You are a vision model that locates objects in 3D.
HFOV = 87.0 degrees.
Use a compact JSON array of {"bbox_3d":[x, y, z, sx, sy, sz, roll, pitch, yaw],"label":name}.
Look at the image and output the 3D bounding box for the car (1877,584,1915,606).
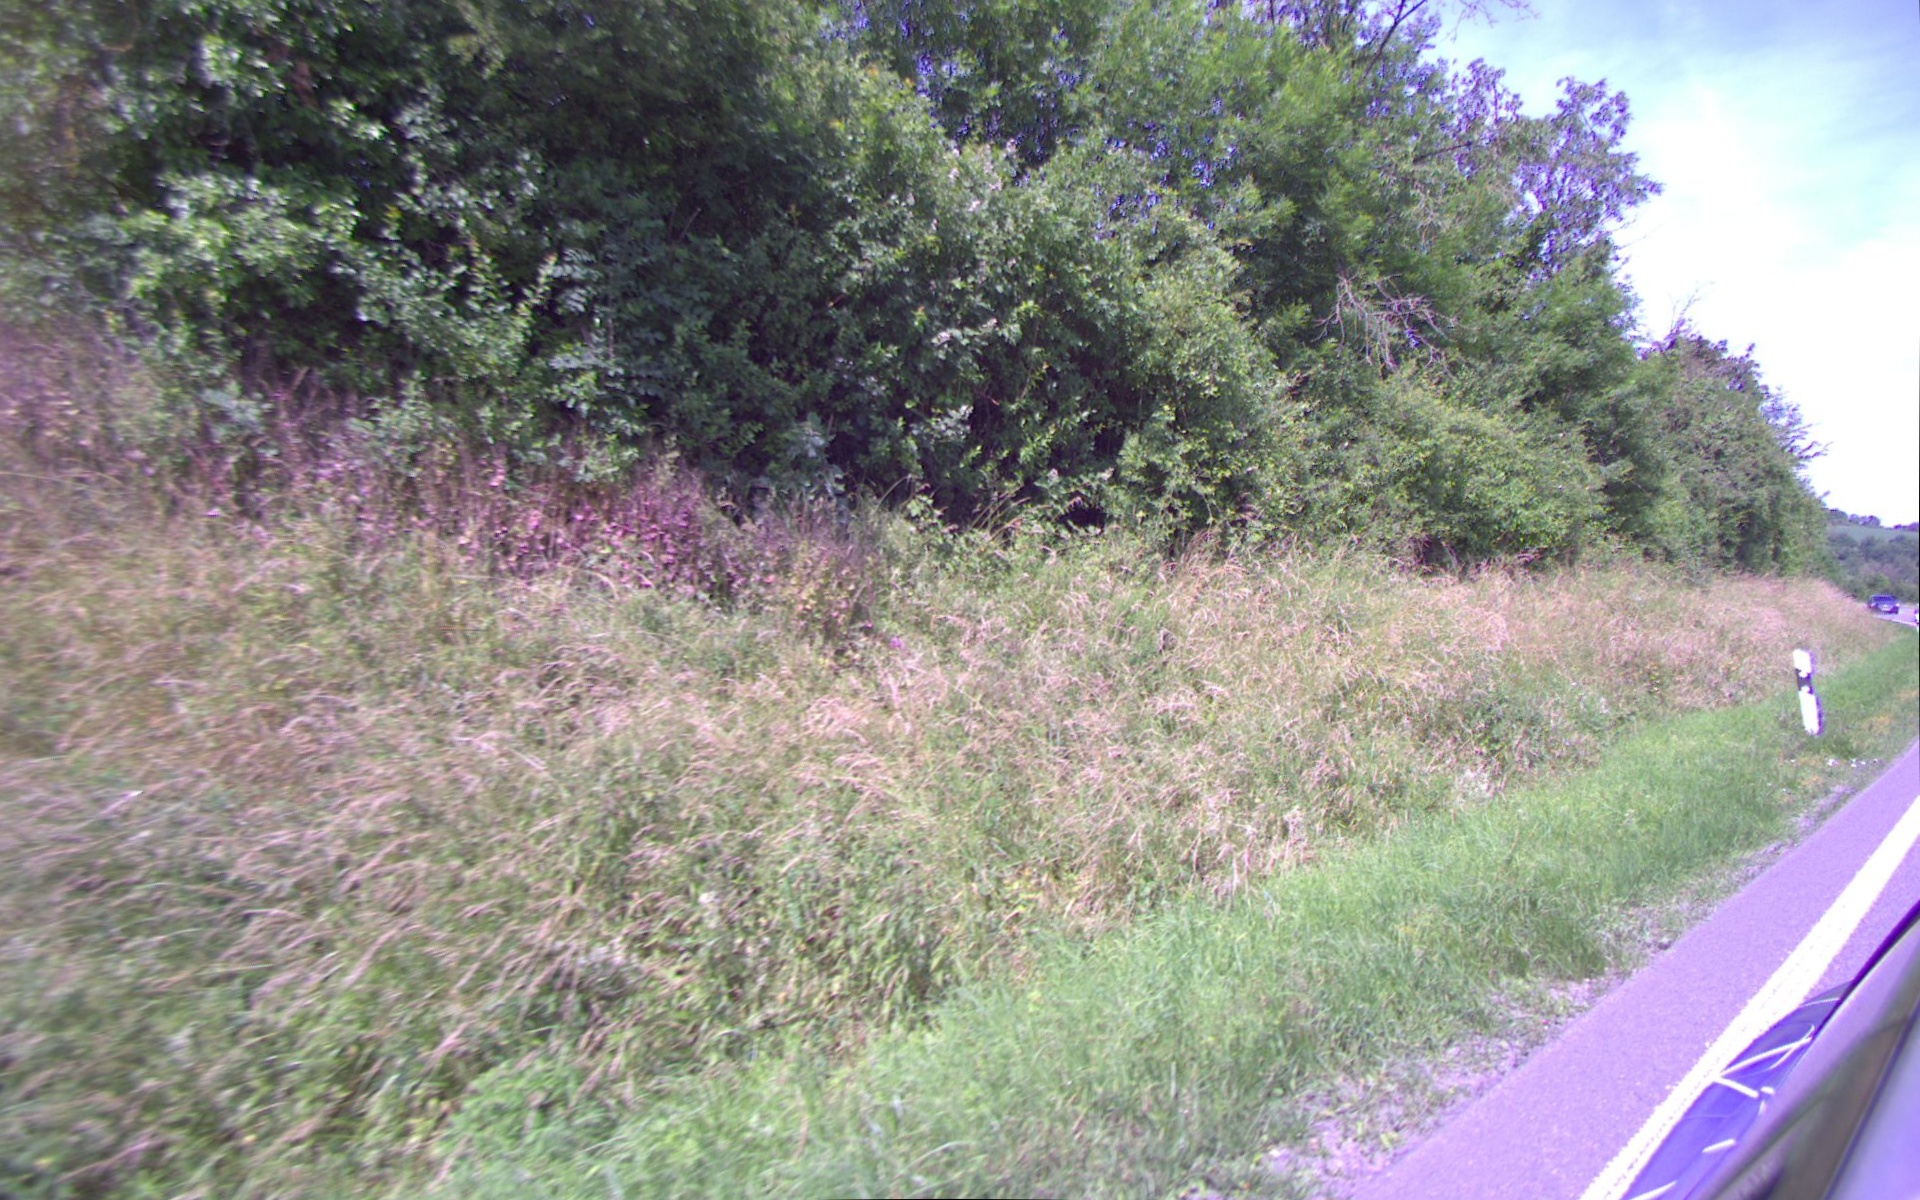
[{"bbox_3d":[75.019,-0.432,81.182,1.818,1.537,3.944,6,4,38],"label":"car"}]
